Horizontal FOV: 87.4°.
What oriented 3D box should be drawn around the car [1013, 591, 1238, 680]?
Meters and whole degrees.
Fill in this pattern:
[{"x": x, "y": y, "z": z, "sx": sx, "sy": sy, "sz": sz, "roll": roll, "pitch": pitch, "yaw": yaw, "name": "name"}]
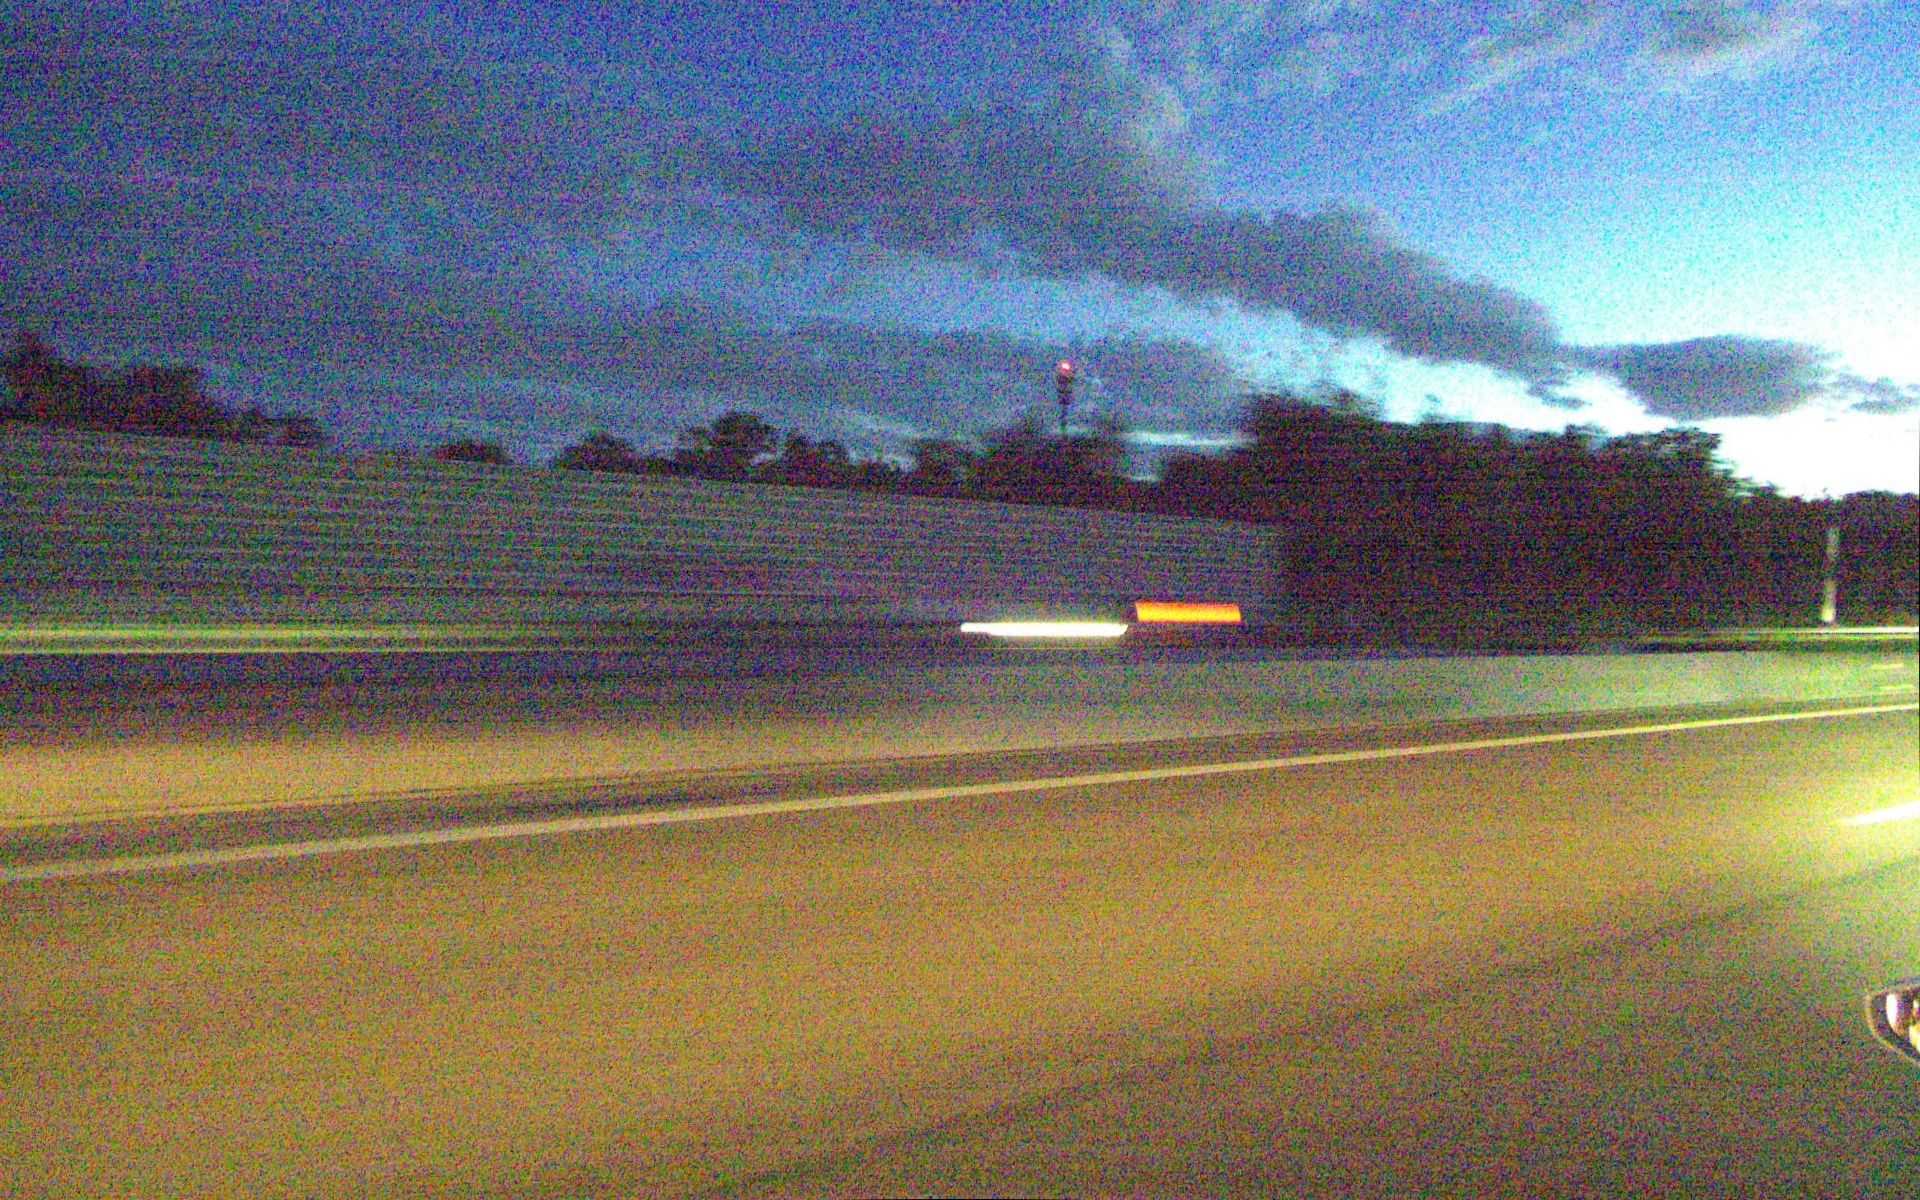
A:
[{"x": 3.578, "y": 0.777, "z": 21.441, "sx": 4.619, "sy": 1.716, "sz": 1.814, "roll": 3, "pitch": -1, "yaw": -30, "name": "car"}]
